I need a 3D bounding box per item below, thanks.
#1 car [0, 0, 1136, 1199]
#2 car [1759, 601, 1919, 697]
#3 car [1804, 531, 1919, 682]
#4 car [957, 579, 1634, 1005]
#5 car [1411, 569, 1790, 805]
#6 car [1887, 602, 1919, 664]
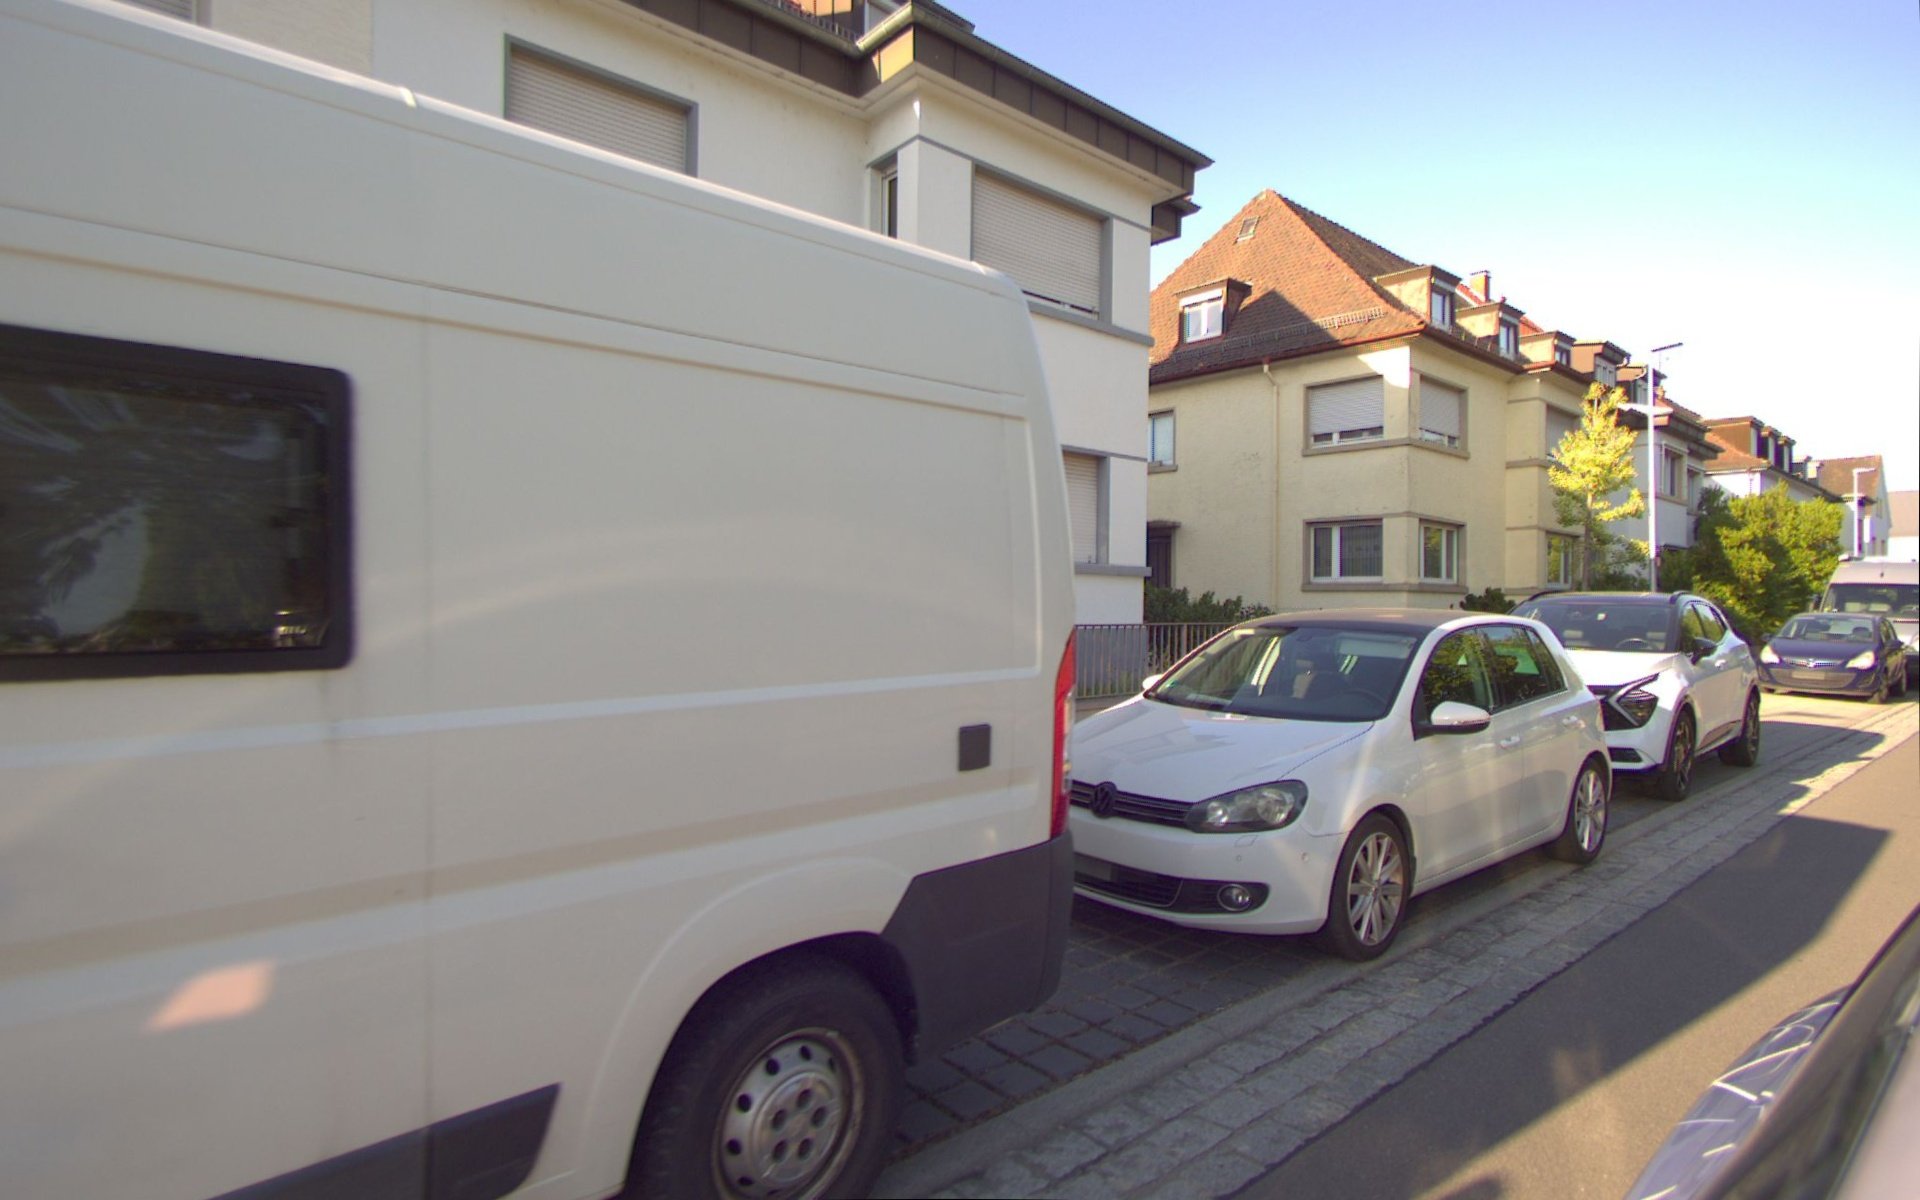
[{"bbox_3d":[-2.203,0.190,1.833,5.415,2.550,2.131,0,-1,-43],"label":"car"},{"bbox_3d":[15.542,0.773,17.729,3.933,1.457,1.629,0,2,-40],"label":"car"},{"bbox_3d":[20.126,0.139,21.707,5.882,2.891,2.132,0,-1,-41],"label":"car"},{"bbox_3d":[2.048,0.671,5.502,4.035,1.501,1.625,0,0,-40],"label":"car"},{"bbox_3d":[6.024,0.605,9.281,4.402,1.666,1.780,0,0,-41],"label":"car"},{"bbox_3d":[24.740,0.805,25.603,3.297,1.518,1.467,0,0,-40],"label":"car"}]
